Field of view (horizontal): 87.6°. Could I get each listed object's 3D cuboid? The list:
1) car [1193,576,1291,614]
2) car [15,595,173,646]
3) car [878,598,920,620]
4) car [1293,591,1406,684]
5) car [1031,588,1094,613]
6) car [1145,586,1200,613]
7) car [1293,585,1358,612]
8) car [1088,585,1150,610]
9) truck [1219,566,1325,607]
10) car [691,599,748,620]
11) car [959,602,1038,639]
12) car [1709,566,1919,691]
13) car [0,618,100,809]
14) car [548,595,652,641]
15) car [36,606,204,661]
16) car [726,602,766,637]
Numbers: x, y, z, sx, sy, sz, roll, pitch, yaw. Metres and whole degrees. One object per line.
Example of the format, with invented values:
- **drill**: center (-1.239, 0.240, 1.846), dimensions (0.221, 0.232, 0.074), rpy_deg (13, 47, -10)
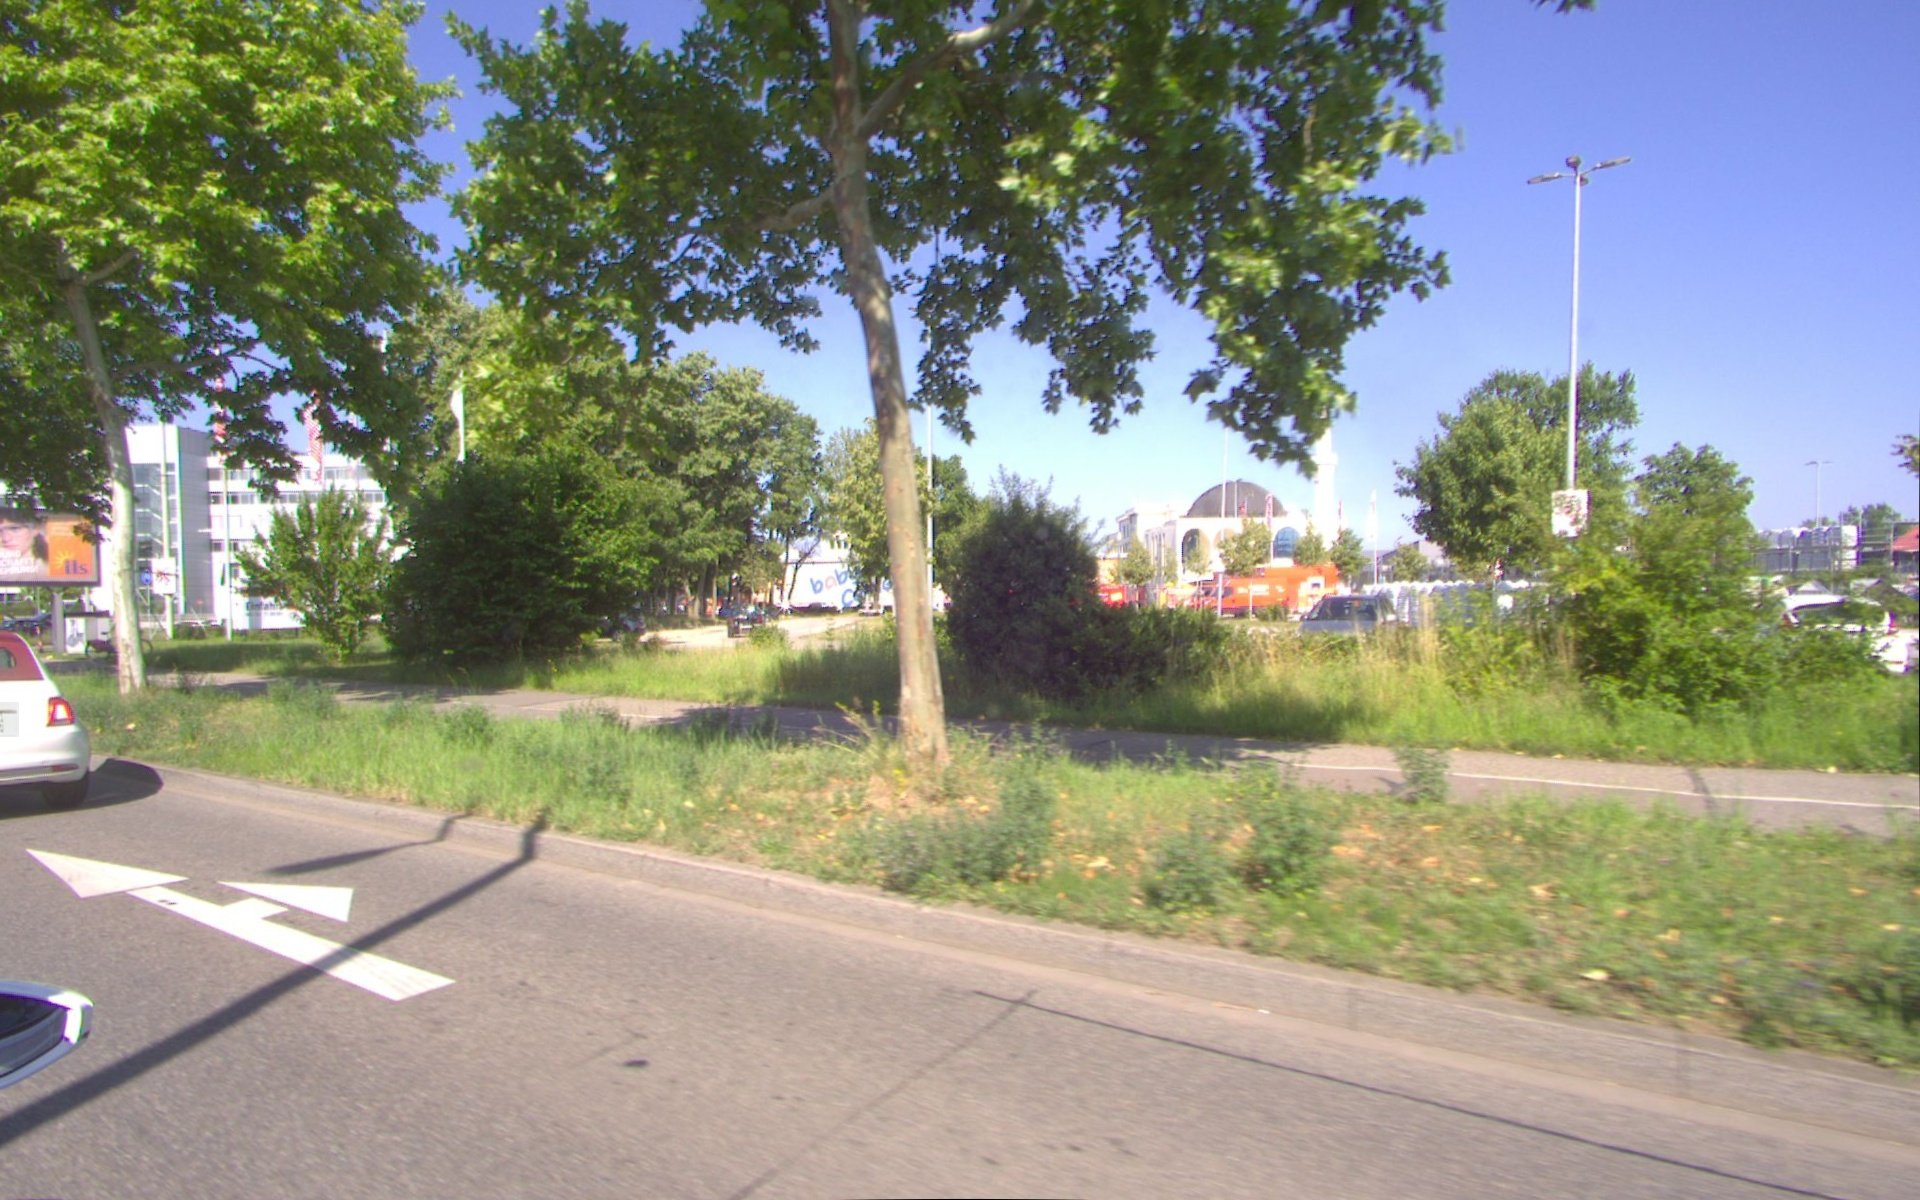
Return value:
- **car**: center (18.529, -0.293, 65.957), dimensions (5.822, 2.371, 2.115), rpy_deg (0, -1, 1)
- **car**: center (-30.370, 0.715, 35.226), dimensions (1.701, 1.683, 3.973), rpy_deg (-1, -2, 37)
- **car**: center (-5.898, 0.877, 96.442), dimensions (3.923, 2.040, 2.000), rpy_deg (0, -1, -6)
- **car**: center (7.994, 0.745, 20.392), dimensions (1.693, 1.718, 3.544), rpy_deg (-1, -1, 29)
- **car**: center (8.928, 0.050, 87.686), dimensions (5.188, 2.039, 2.000), rpy_deg (0, -1, -5)
- **car**: center (16.739, -0.043, 79.066), dimensions (3.922, 2.040, 2.001), rpy_deg (0, -1, 2)
- **car**: center (28.412, -0.075, 77.847), dimensions (4.304, 2.040, 2.000), rpy_deg (0, -1, -3)
- **car**: center (12.991, -0.188, 81.942), dimensions (4.824, 1.906, 1.770), rpy_deg (0, -1, 1)
- **truck**: center (25.513, -1.092, 81.949), dimensions (8.068, 3.290, 2.000), rpy_deg (0, -1, -3)
- **car**: center (-18.254, 0.721, 76.150), dimensions (3.922, 1.505, 1.722), rpy_deg (0, -1, 0)
- **car**: center (1.671, 0.903, 44.265), dimensions (3.387, 1.591, 1.745), rpy_deg (0, -1, -2)
- **car**: center (13.915, 0.461, 16.529), dimensions (1.725, 1.794, 3.987), rpy_deg (-1, -1, 26)
- **car**: center (-8.874, 0.896, 8.407), dimensions (3.471, 1.455, 1.658), rpy_deg (-1, -1, 34)
- **car**: center (-14.140, 0.713, 39.481), dimensions (3.681, 1.738, 1.766), rpy_deg (0, -1, -14)
- **car**: center (-27.398, 1.087, 32.777), dimensions (1.701, 1.683, 3.973), rpy_deg (-1, -2, 37)
- **car**: center (-9.887, 0.906, 46.349), dimensions (1.743, 1.534, 3.722), rpy_deg (0, -1, -12)
